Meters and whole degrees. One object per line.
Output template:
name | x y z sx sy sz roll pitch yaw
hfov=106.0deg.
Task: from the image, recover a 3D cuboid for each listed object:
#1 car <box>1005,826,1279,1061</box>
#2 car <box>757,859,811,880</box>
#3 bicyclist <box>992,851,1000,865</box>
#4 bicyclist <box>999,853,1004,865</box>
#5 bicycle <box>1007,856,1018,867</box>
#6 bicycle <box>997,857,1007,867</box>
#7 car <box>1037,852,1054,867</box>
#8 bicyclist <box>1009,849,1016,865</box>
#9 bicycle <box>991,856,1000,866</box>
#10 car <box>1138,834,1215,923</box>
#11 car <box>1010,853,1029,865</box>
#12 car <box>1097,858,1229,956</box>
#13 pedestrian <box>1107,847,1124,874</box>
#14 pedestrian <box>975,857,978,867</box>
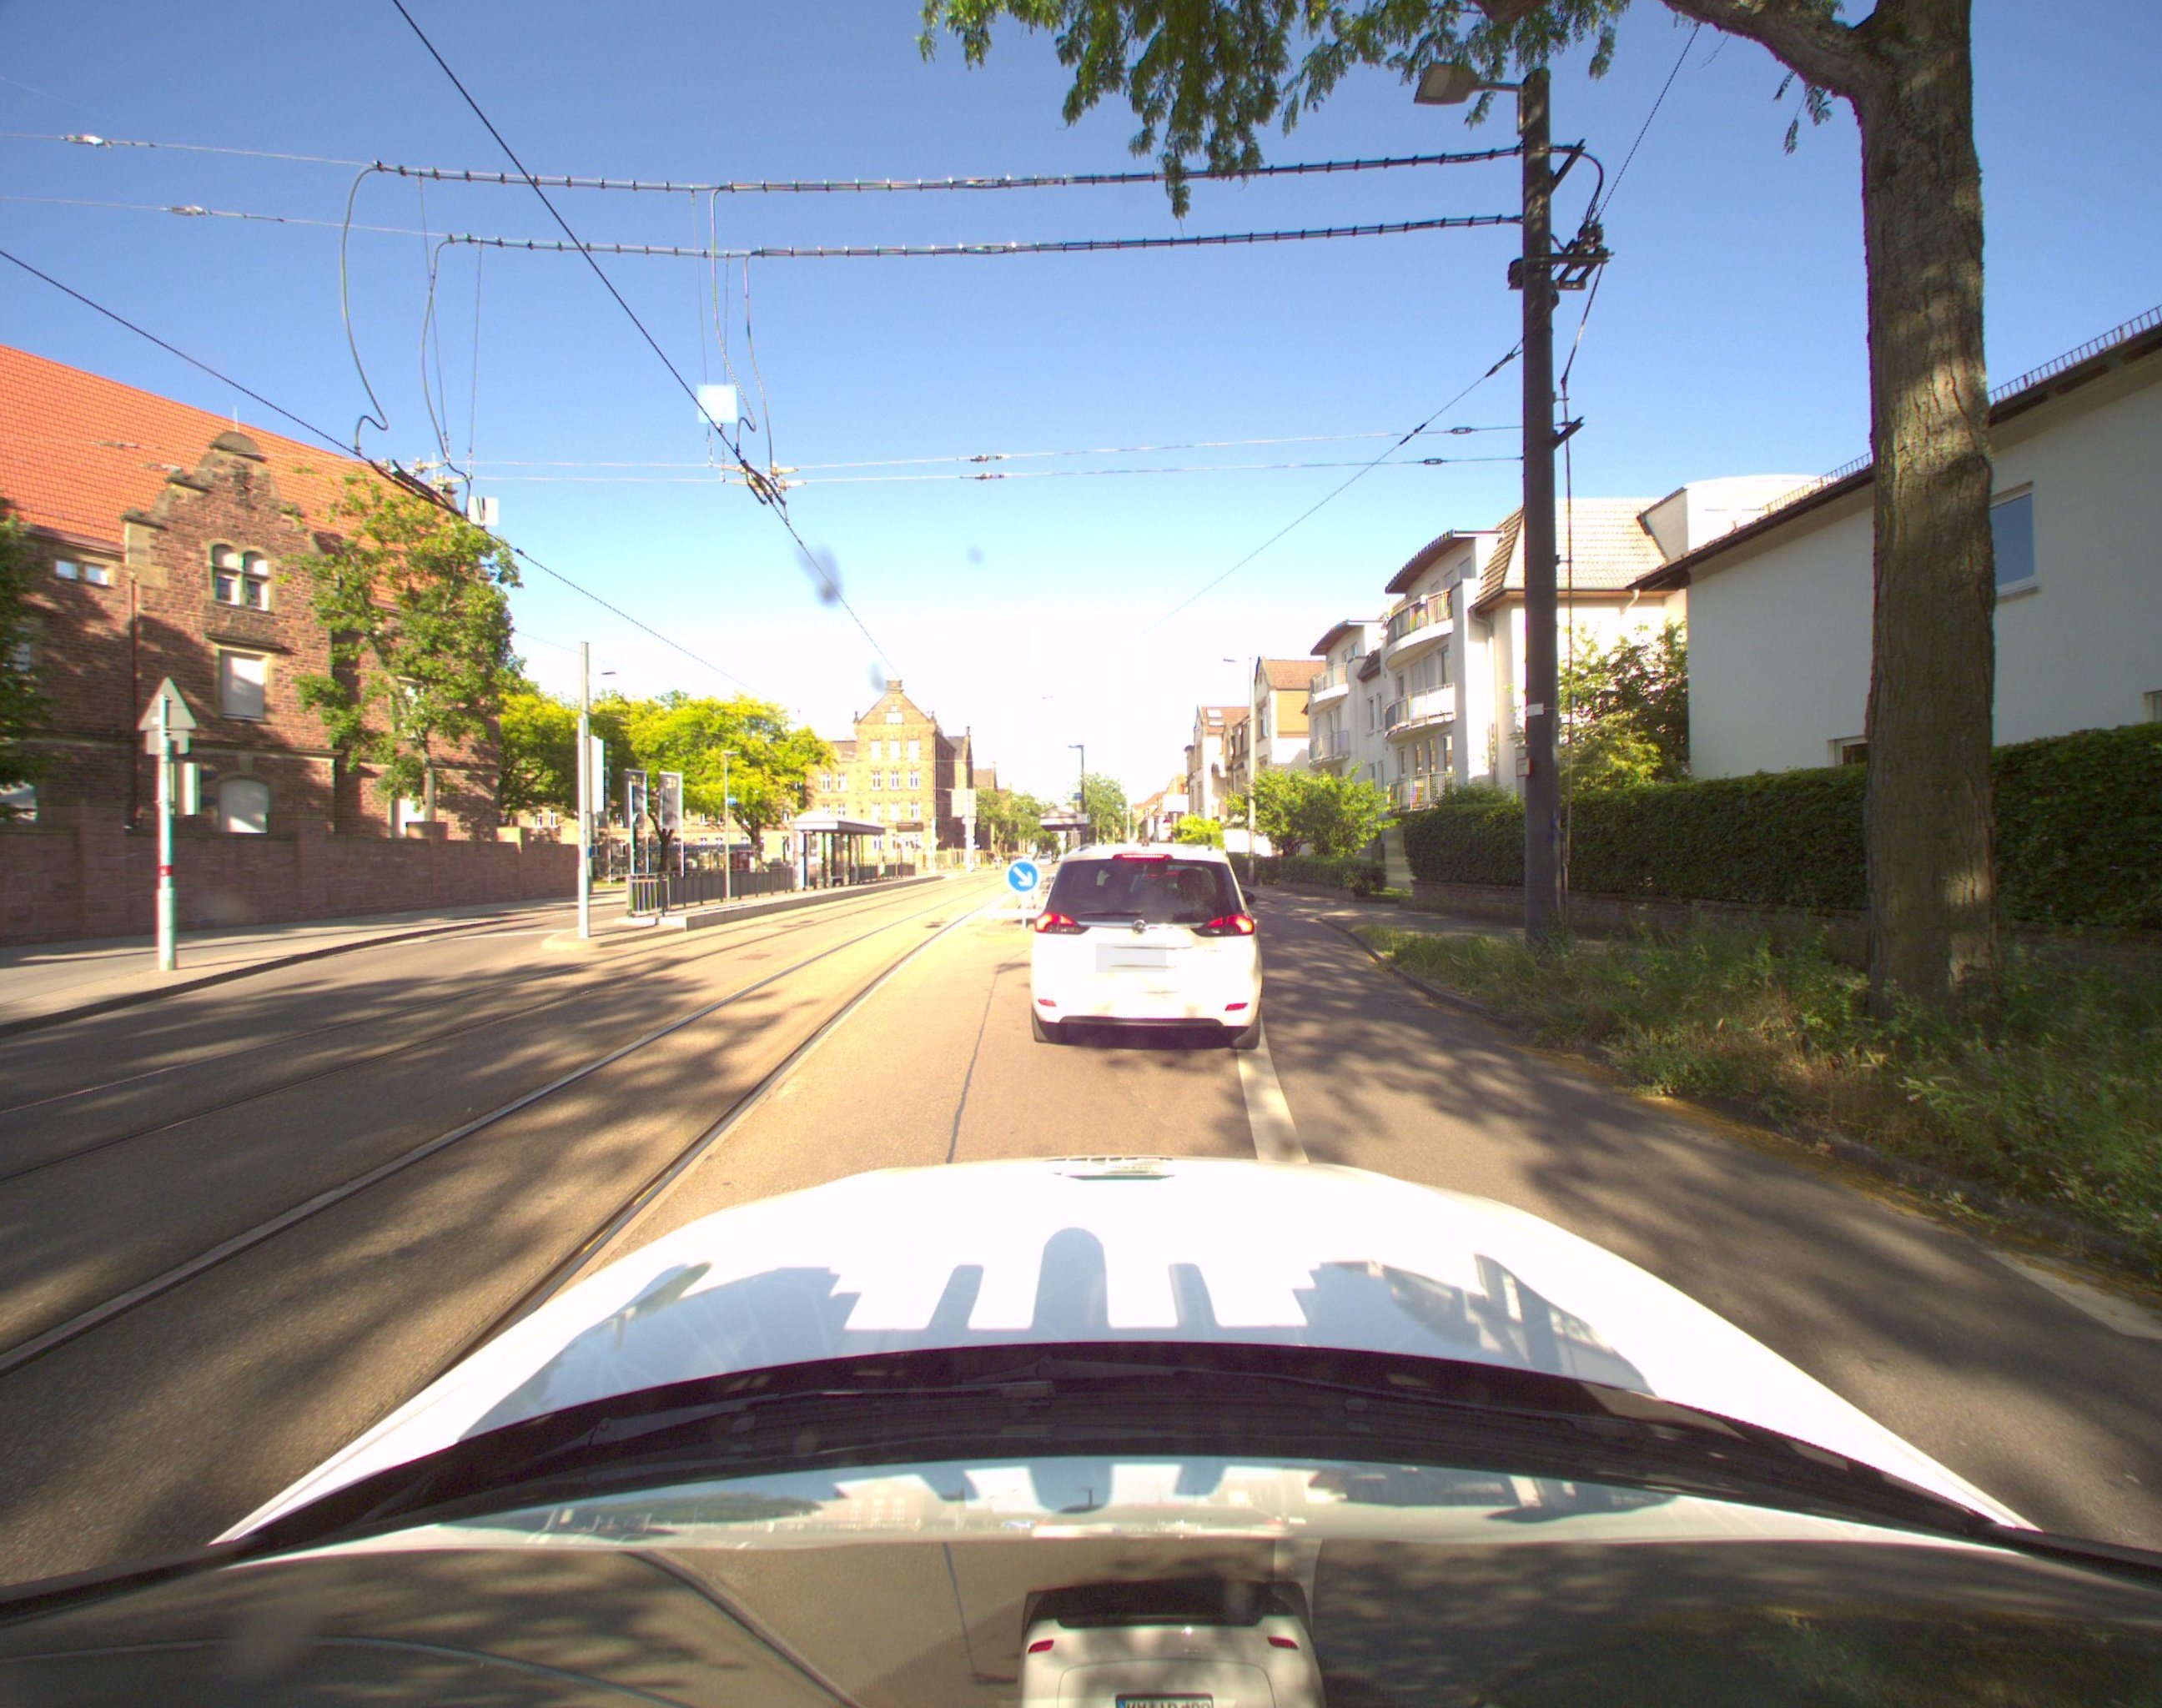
car | 0.690 0.702 7.813 1.882 1.611 4.237 -1 -2 8
car | -25.837 1.348 70.954 3.980 1.790 1.996 0 -1 -5
bicyclist | -10.816 0.532 103.348 0.941 1.734 0.861 -1 0 -1
bicyclist | -10.695 0.732 109.507 0.700 1.607 0.657 -1 0 -1
bicycle | -8.911 0.981 105.898 1.145 1.297 2.859 -1 0 -2
bicycle | -10.655 1.030 109.828 1.145 1.297 2.859 -1 0 -2
car | -4.726 0.778 107.651 1.987 1.913 4.000 -1 -1 0
bicyclist | -8.892 0.361 105.898 0.948 2.014 0.822 -1 0 -4
bicycle | -10.818 0.857 103.057 0.819 1.297 2.676 -1 0 -2
car | 2.511 0.562 20.585 1.699 2.013 3.917 -2 0 9
car | -8.556 0.678 114.137 1.984 1.722 4.005 -1 0 4
car | 1.570 0.828 14.459 1.982 1.442 4.010 -2 0 9
pedestrian | 2.669 0.521 63.149 1.154 2.013 1.117 -3 0 -5
pedestrian | -14.559 1.101 113.194 0.360 1.438 0.549 -1 -1 2
